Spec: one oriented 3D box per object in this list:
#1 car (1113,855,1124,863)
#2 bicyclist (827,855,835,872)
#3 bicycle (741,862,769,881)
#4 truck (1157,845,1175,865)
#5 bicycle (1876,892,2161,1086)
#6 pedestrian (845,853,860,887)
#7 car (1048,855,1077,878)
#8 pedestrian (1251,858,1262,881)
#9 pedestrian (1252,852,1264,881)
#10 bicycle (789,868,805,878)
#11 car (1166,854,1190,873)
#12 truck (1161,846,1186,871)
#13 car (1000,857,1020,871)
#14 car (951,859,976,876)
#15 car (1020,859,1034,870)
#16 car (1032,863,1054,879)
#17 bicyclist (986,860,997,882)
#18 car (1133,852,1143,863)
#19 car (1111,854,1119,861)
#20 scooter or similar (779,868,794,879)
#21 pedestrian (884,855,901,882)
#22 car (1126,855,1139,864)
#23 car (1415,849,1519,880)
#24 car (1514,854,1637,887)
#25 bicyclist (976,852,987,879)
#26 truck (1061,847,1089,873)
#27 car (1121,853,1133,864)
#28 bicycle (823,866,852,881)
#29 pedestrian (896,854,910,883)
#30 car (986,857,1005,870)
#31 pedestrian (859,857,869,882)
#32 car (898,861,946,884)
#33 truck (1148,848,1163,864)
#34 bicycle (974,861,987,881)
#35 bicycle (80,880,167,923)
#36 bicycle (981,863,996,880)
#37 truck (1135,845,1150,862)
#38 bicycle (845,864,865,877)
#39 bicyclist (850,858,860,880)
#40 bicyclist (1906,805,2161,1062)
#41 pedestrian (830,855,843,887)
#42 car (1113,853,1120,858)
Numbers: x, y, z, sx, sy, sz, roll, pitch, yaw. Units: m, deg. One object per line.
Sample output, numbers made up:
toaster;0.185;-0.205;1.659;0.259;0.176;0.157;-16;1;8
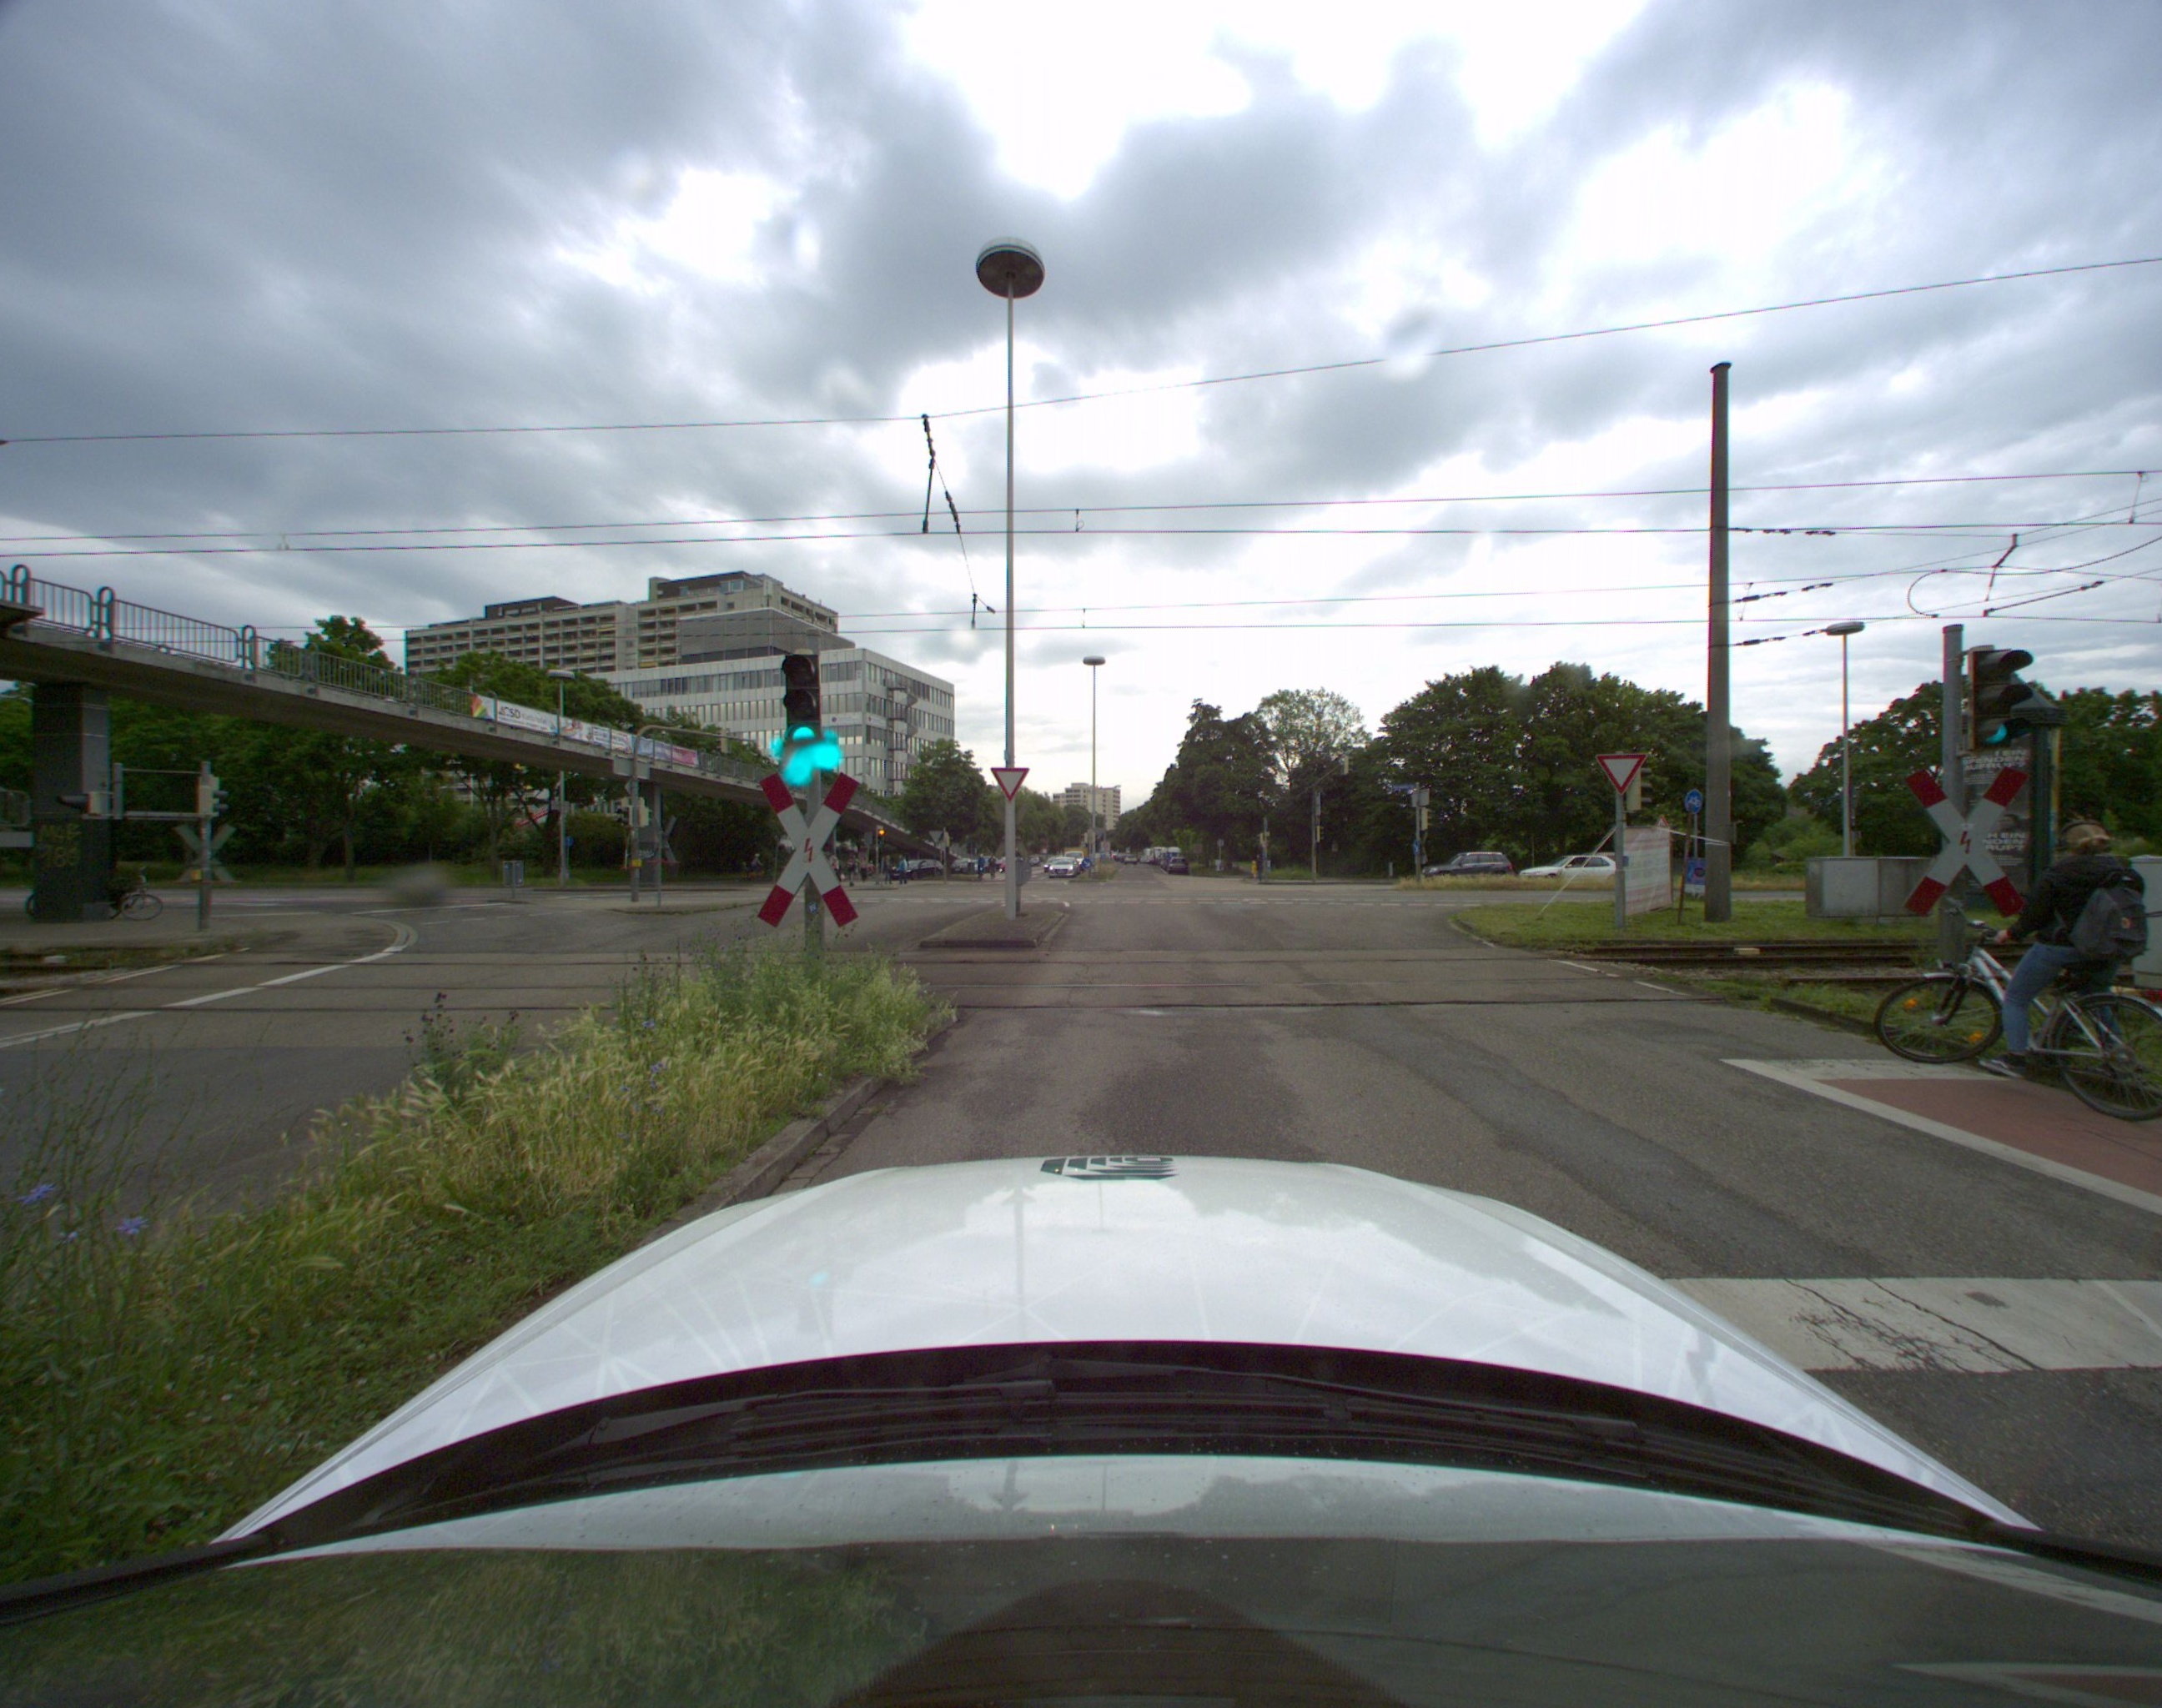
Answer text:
car;7.321;0.979;159.787;2.013;1.505;4.002;0;0;2
bicyclist;-17.349;0.670;56.453;0.403;1.181;0.378;0;0;4
bicycle;-21.857;1.170;54.592;1.712;1.304;0.386;0;0;-23
truck;12.496;0.169;119.957;1.988;2.838;5.727;0;0;-2
bicycle;6.026;0.764;4.982;0.381;0.980;2.030;0;-1;2
pedestrian;-12.086;0.836;43.129;0.636;1.804;0.800;0;0;-7
car;-1.280;0.861;57.375;1.782;1.519;4.327;0;0;2
pedestrian;10.689;0.947;49.648;0.525;1.342;0.525;0;0;1
pedestrian;10.658;0.731;49.038;0.654;1.750;0.459;0;0;1
bicycle;-20.076;1.343;57.601;0.287;0.692;1.304;0;0;21
car;8.791;0.833;73.860;1.777;1.662;4.002;0;0;2
truck;10.272;0.467;90.638;2.166;2.656;6.248;-1;-1;2
car;-7.433;1.075;85.462;1.504;1.390;3.538;0;-1;6
car;-11.211;1.260;78.057;1.665;1.552;3.894;0;0;3
car;-8.357;1.610;126.754;1.665;1.552;4.003;0;0;3
car;-3.669;1.615;78.940;1.763;1.477;4.392;0;0;2
bicyclist;-6.342;1.200;57.743;0.676;1.594;0.695;0;-1;1
car;11.122;0.652;158.854;1.647;1.918;3.916;0;1;-2
car;7.680;0.848;185.552;1.549;1.505;3.998;0;0;-1
scooter or similar;-20.456;1.371;56.513;0.401;0.715;1.002;0;0;21
pedestrian;-10.687;0.843;46.222;0.917;1.511;0.402;0;0;-10
car;8.403;0.873;133.286;2.013;1.505;4.002;0;0;2
car;19.582;0.518;41.481;4.447;1.504;1.847;0;0;2
car;20.483;0.670;33.848;4.120;1.357;1.648;0;0;2
bicyclist;-6.584;0.752;53.825;0.642;1.768;0.647;0;0;1
truck;-0.483;0.495;72.165;2.147;2.199;5.844;0;0;3
car;8.077;0.813;143.462;2.013;1.958;4.002;0;0;2
bicycle;-16.847;1.326;56.341;0.755;0.949;1.965;0;0;26
pedestrian;-10.066;0.814;46.052;0.685;1.605;0.487;0;0;-3
car;-10.026;1.091;95.727;1.757;1.395;4.002;0;0;2
pedestrian;-13.530;0.952;50.742;0.580;1.579;0.777;0;0;-16
car;-11.135;1.265;57.429;1.659;1.552;4.017;0;0;16
truck;12.093;0.311;132.048;1.987;2.573;5.377;0;-1;0
bicycle;-6.644;1.133;54.141;0.541;1.267;2.112;0;0;2
bicycle;-21.672;1.060;18.422;2.017;0.921;0.375;0;0;13
bicycle;-6.484;1.227;57.055;0.724;1.101;2.265;0;0;2
truck;10.788;-0.038;142.883;1.988;3.009;5.768;0;-1;-1
bicycle;-16.651;1.203;60.052;0.628;0.925;2.524;0;0;2
bicyclist;-16.664;1.085;59.975;0.563;1.644;0.532;0;-1;2
bicyclist;5.990;0.456;5.103;0.619;1.425;0.961;4;-1;1
pedestrian;-12.842;0.891;42.764;0.619;1.691;0.403;0;0;-12
car;10.963;0.320;251.781;2.013;1.505;4.002;0;0;2
